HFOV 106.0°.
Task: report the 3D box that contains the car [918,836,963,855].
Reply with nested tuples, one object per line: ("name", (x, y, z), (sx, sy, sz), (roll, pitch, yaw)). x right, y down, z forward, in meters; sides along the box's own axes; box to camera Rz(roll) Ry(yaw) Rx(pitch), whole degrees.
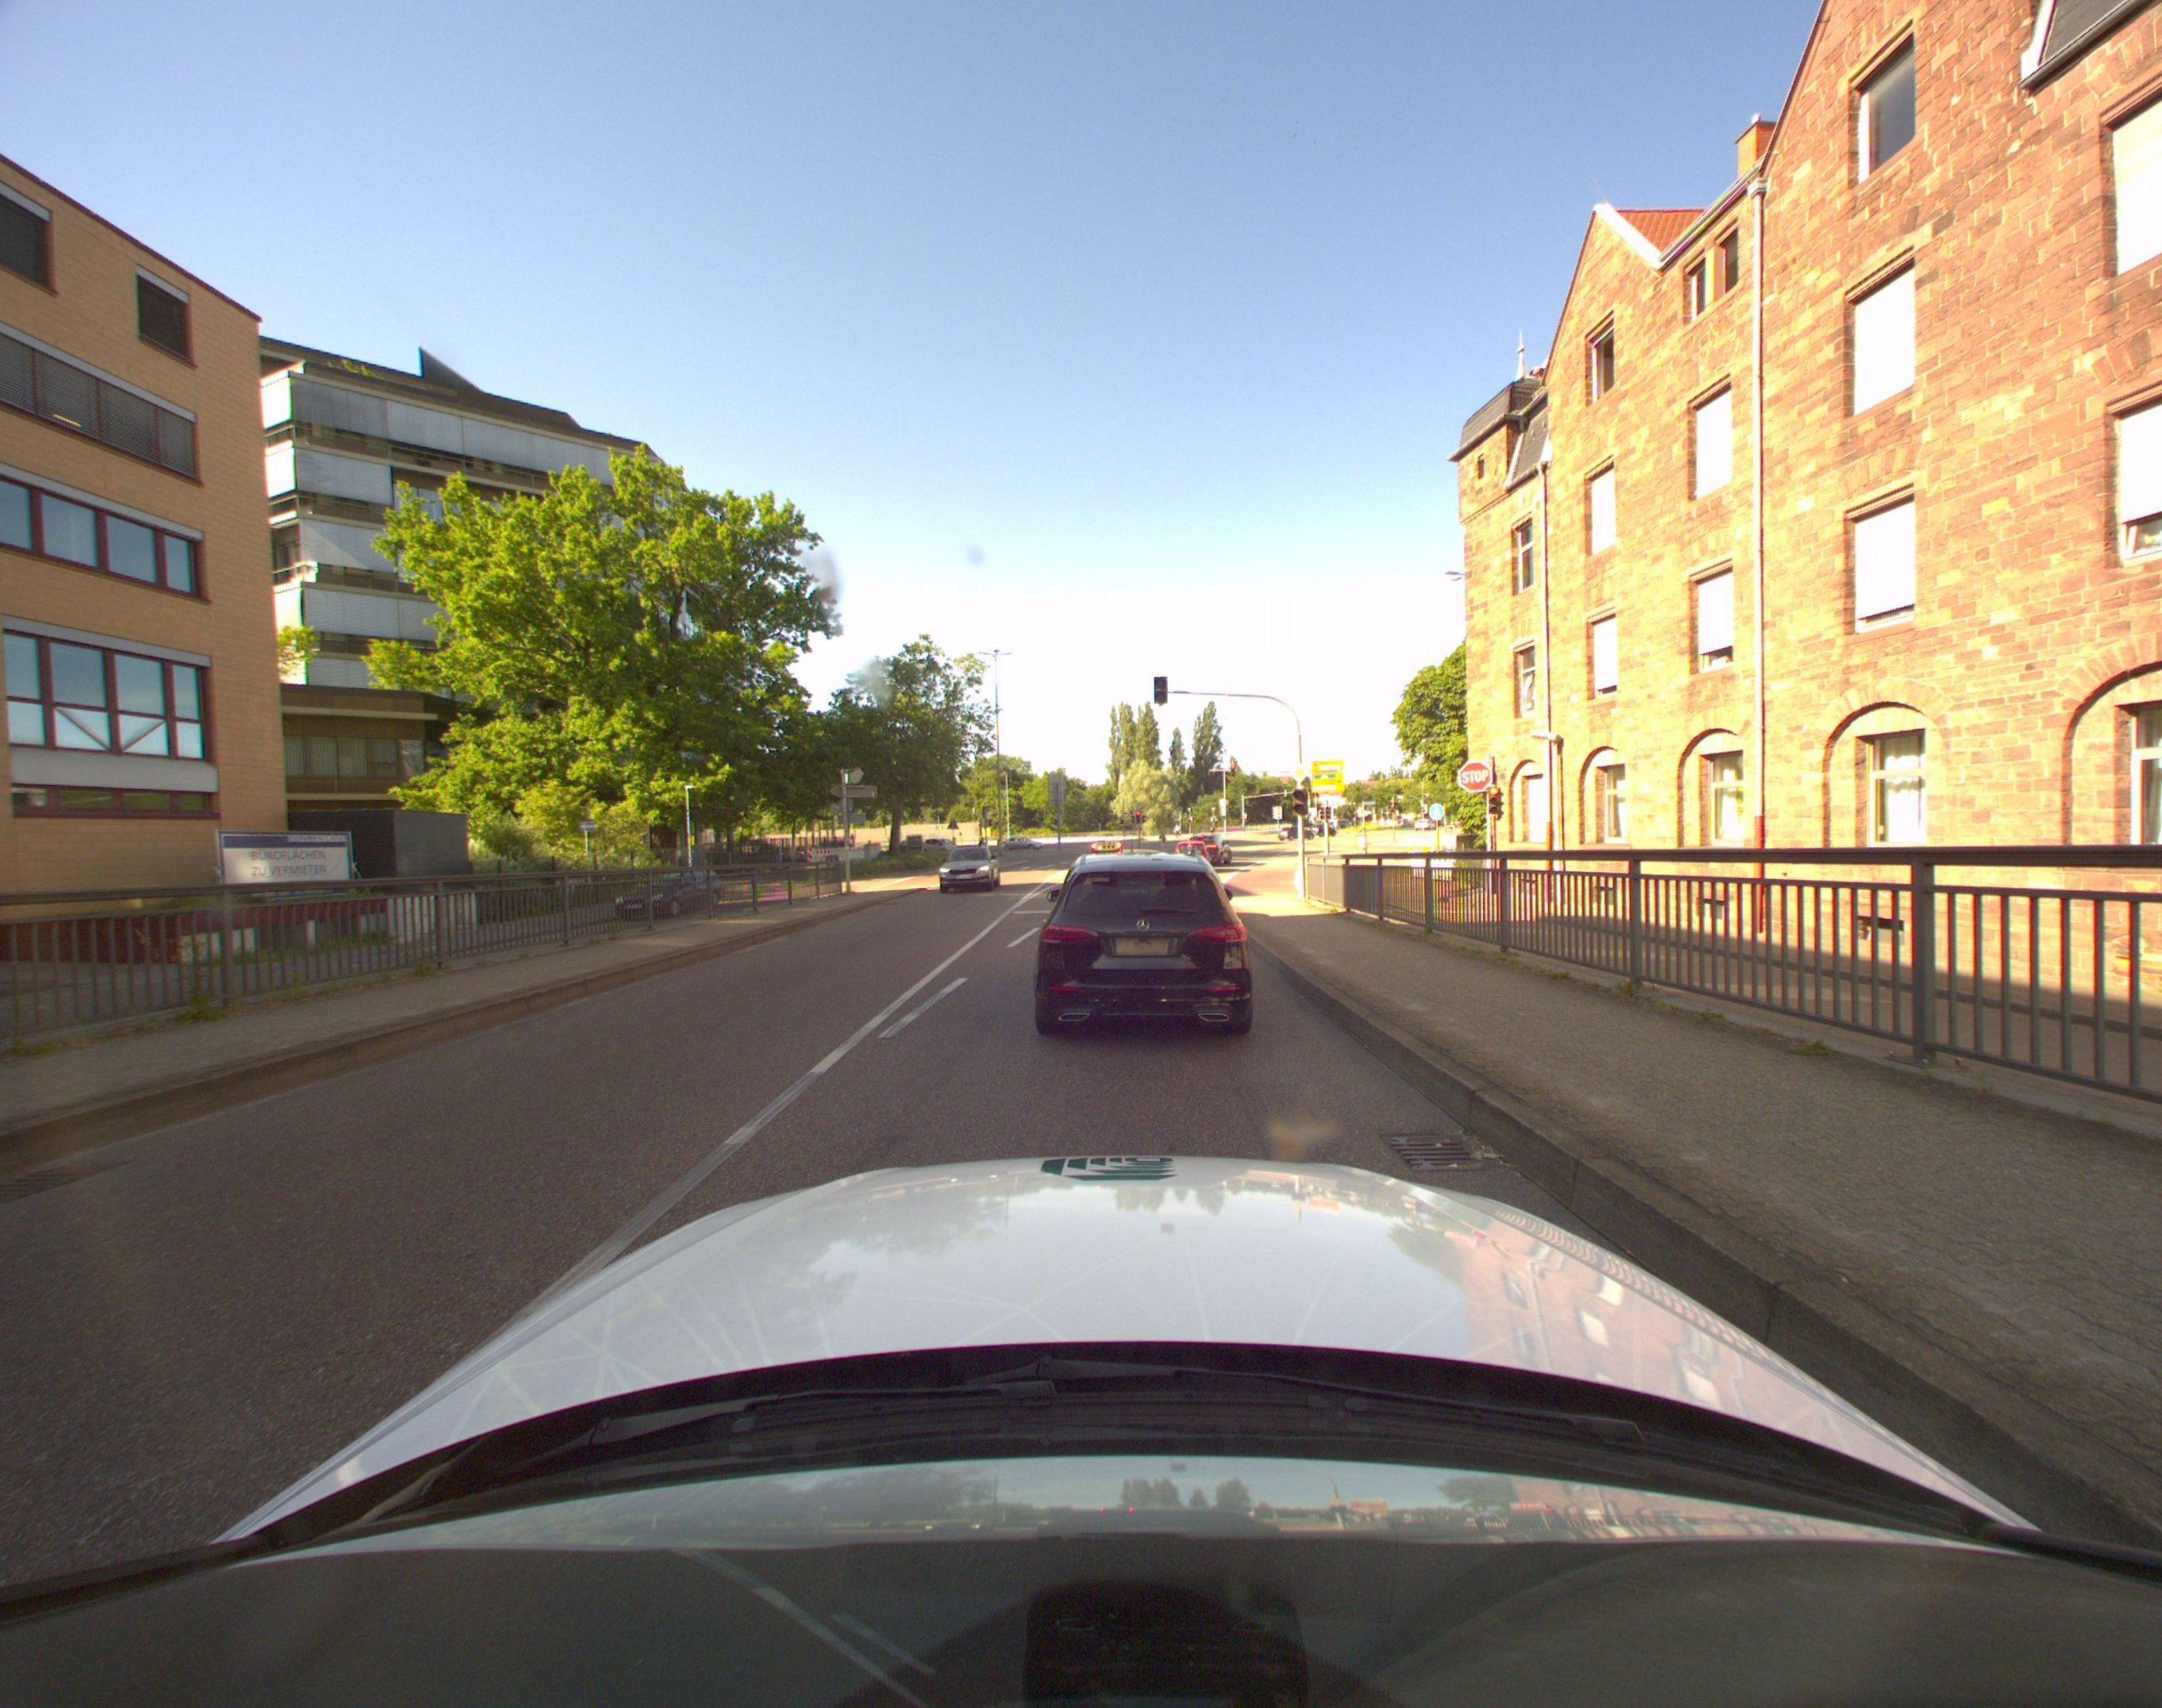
("car", (-13.197, -0.777, 76.313), (3.948, 1.635, 1.795), (-1, 3, 33))

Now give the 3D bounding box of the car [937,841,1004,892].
("car", (-3.906, 0.414, 29.375), (1.798, 1.623, 3.999), (-3, 0, 0))

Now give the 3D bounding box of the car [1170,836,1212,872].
("car", (5.366, -0.037, 39.426), (1.710, 1.521, 3.499), (-1, 3, 13))

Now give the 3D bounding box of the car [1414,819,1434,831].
("car", (45.437, -3.841, 107.899), (1.975, 1.365, 4.342), (-1, 3, 29))

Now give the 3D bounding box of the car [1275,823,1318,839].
("car", (22.338, -2.373, 84.568), (3.999, 1.498, 1.733), (-1, 0, -19))

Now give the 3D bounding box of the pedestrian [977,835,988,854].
("pedestrian", (-8.302, -0.785, 68.387), (0.700, 1.525, 0.746), (-1, 1, 12))

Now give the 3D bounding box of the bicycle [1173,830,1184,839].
("bicycle", (11.754, -2.319, 97.884), (0.520, 1.050, 2.003), (-2, 1, 30))

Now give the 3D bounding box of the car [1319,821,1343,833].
("car", (35.067, -3.758, 114.106), (1.860, 1.578, 4.026), (-1, 2, 38))

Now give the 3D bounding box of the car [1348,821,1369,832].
("car", (43.011, -4.210, 126.281), (1.860, 1.578, 4.026), (-1, 2, 38))

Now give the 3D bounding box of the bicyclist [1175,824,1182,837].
("bicyclist", (11.739, -2.852, 97.863), (0.520, 1.551, 0.812), (-2, 1, 30))

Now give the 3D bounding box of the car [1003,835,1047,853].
("car", (-5.649, -0.988, 82.178), (3.958, 1.629, 1.899), (-2, 1, 15))

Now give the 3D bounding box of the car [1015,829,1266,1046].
("car", (0.508, 0.605, 8.095), (1.871, 1.613, 4.002), (0, 0, 2))

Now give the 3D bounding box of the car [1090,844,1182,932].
("car", (1.138, 0.606, 16.825), (1.632, 1.529, 3.478), (-2, 1, 4))

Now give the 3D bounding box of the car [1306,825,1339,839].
("car", (28.061, -2.529, 94.579), (4.023, 1.547, 1.868), (0, -1, -44))

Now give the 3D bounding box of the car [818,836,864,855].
("car", (-25.082, -0.848, 84.984), (4.835, 1.794, 1.937), (-2, 2, 36))

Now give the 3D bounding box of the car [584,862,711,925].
("car", (-13.951, 1.205, 26.497), (1.844, 1.692, 4.002), (-2, 2, 2))

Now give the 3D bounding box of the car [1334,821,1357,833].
("car", (38.765, -4.007, 119.179), (1.860, 1.578, 4.026), (-1, 2, 38))

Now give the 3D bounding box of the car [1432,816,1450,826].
("car", (57.302, -5.235, 129.632), (1.862, 1.294, 4.625), (-1, 3, 33))

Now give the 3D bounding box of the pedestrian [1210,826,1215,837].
("pedestrian", (18.284, -3.114, 113.016), (0.446, 1.585, 0.504), (-2, 1, 42))

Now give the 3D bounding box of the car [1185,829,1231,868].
("car", (7.076, -0.344, 44.994), (1.707, 1.811, 4.320), (-1, 4, 20))
